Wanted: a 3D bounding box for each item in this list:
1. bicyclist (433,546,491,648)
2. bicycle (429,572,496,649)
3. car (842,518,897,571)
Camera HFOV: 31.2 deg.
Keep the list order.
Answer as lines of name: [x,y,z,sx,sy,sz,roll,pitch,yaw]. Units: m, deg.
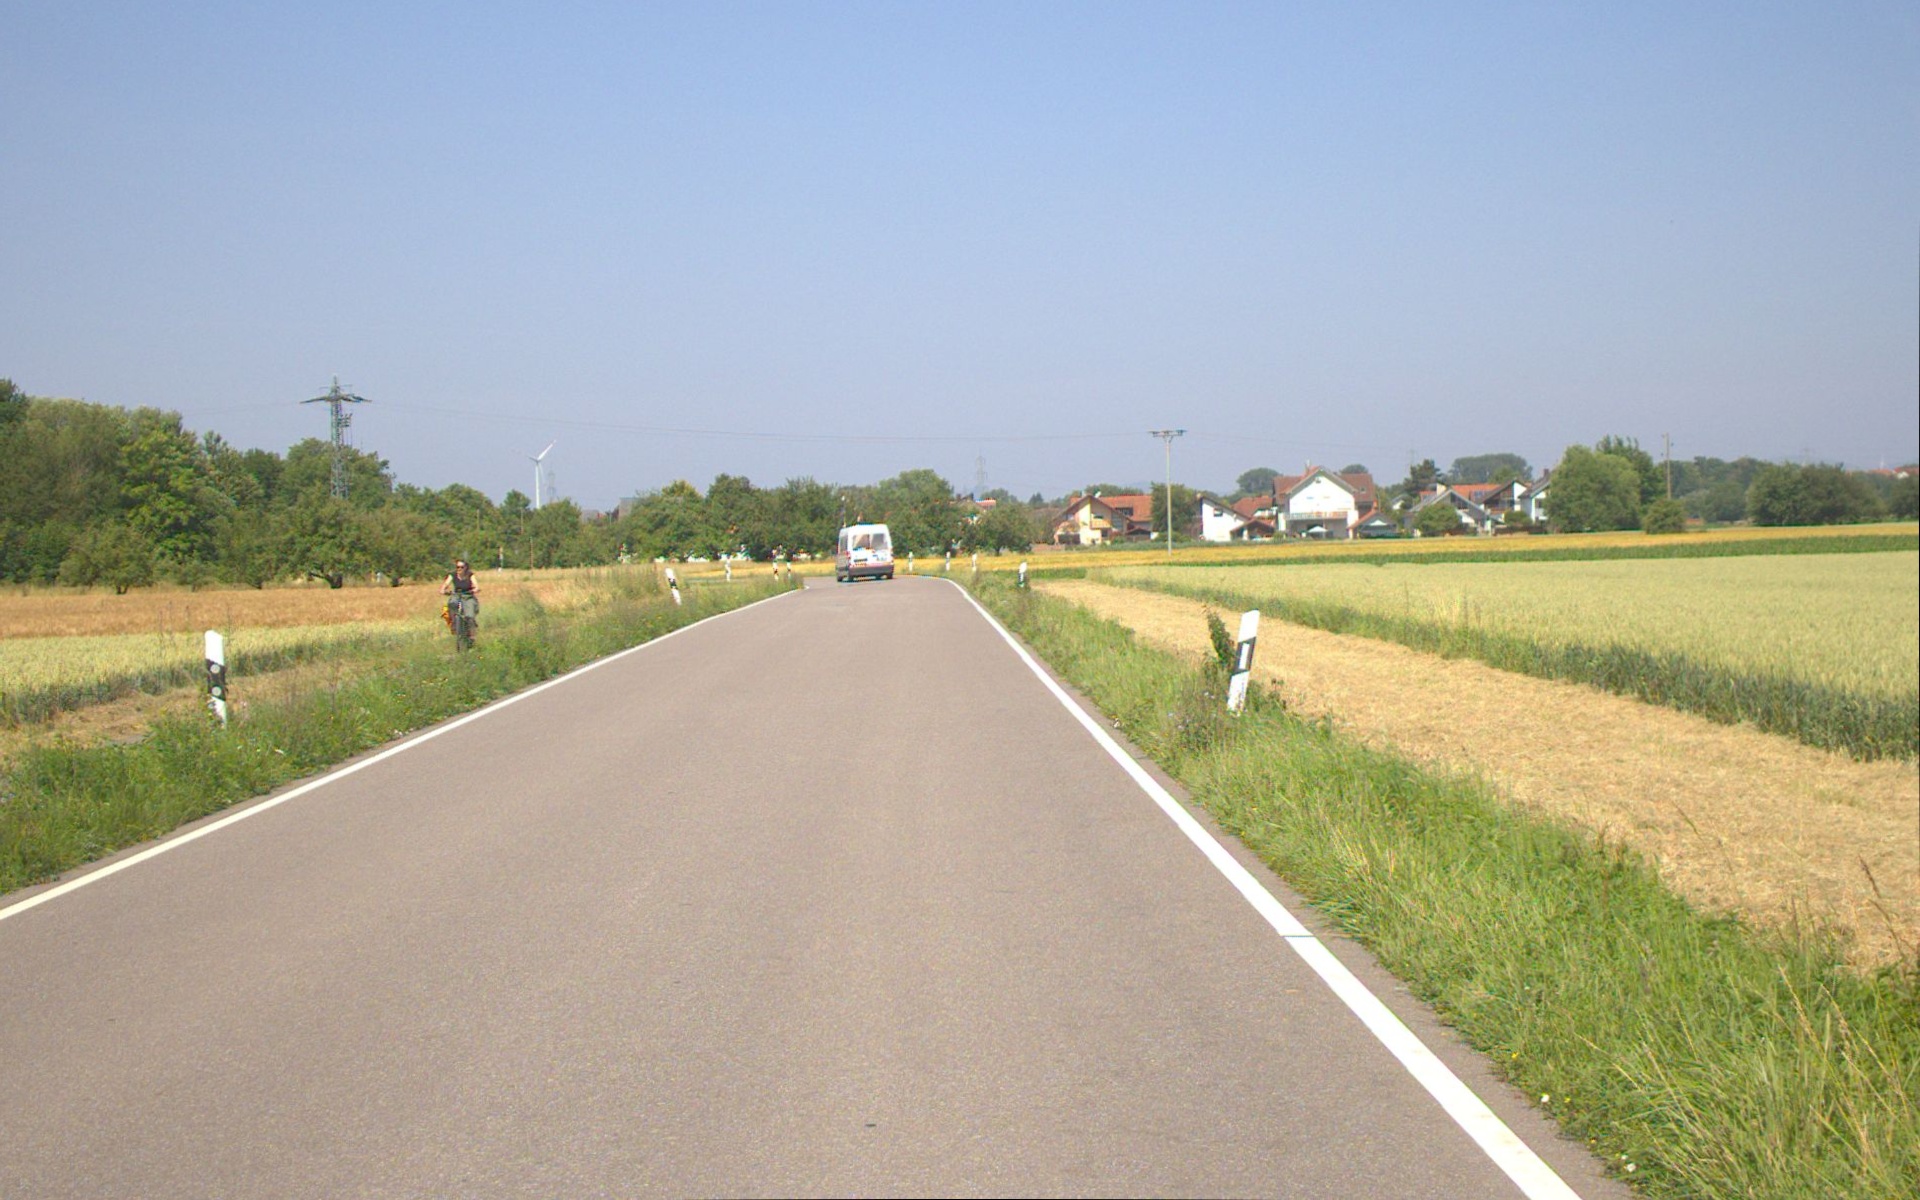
bicyclist: [-8.424,-0.056,58.193,0.760,1.667,1.088,-3,1,-1]
bicycle: [-8.429,0.162,58.326,0.759,1.231,2.394,-3,1,-1]
car: [-4.066,-2.460,153.171,2.107,2.296,5.497,0,1,-5]
